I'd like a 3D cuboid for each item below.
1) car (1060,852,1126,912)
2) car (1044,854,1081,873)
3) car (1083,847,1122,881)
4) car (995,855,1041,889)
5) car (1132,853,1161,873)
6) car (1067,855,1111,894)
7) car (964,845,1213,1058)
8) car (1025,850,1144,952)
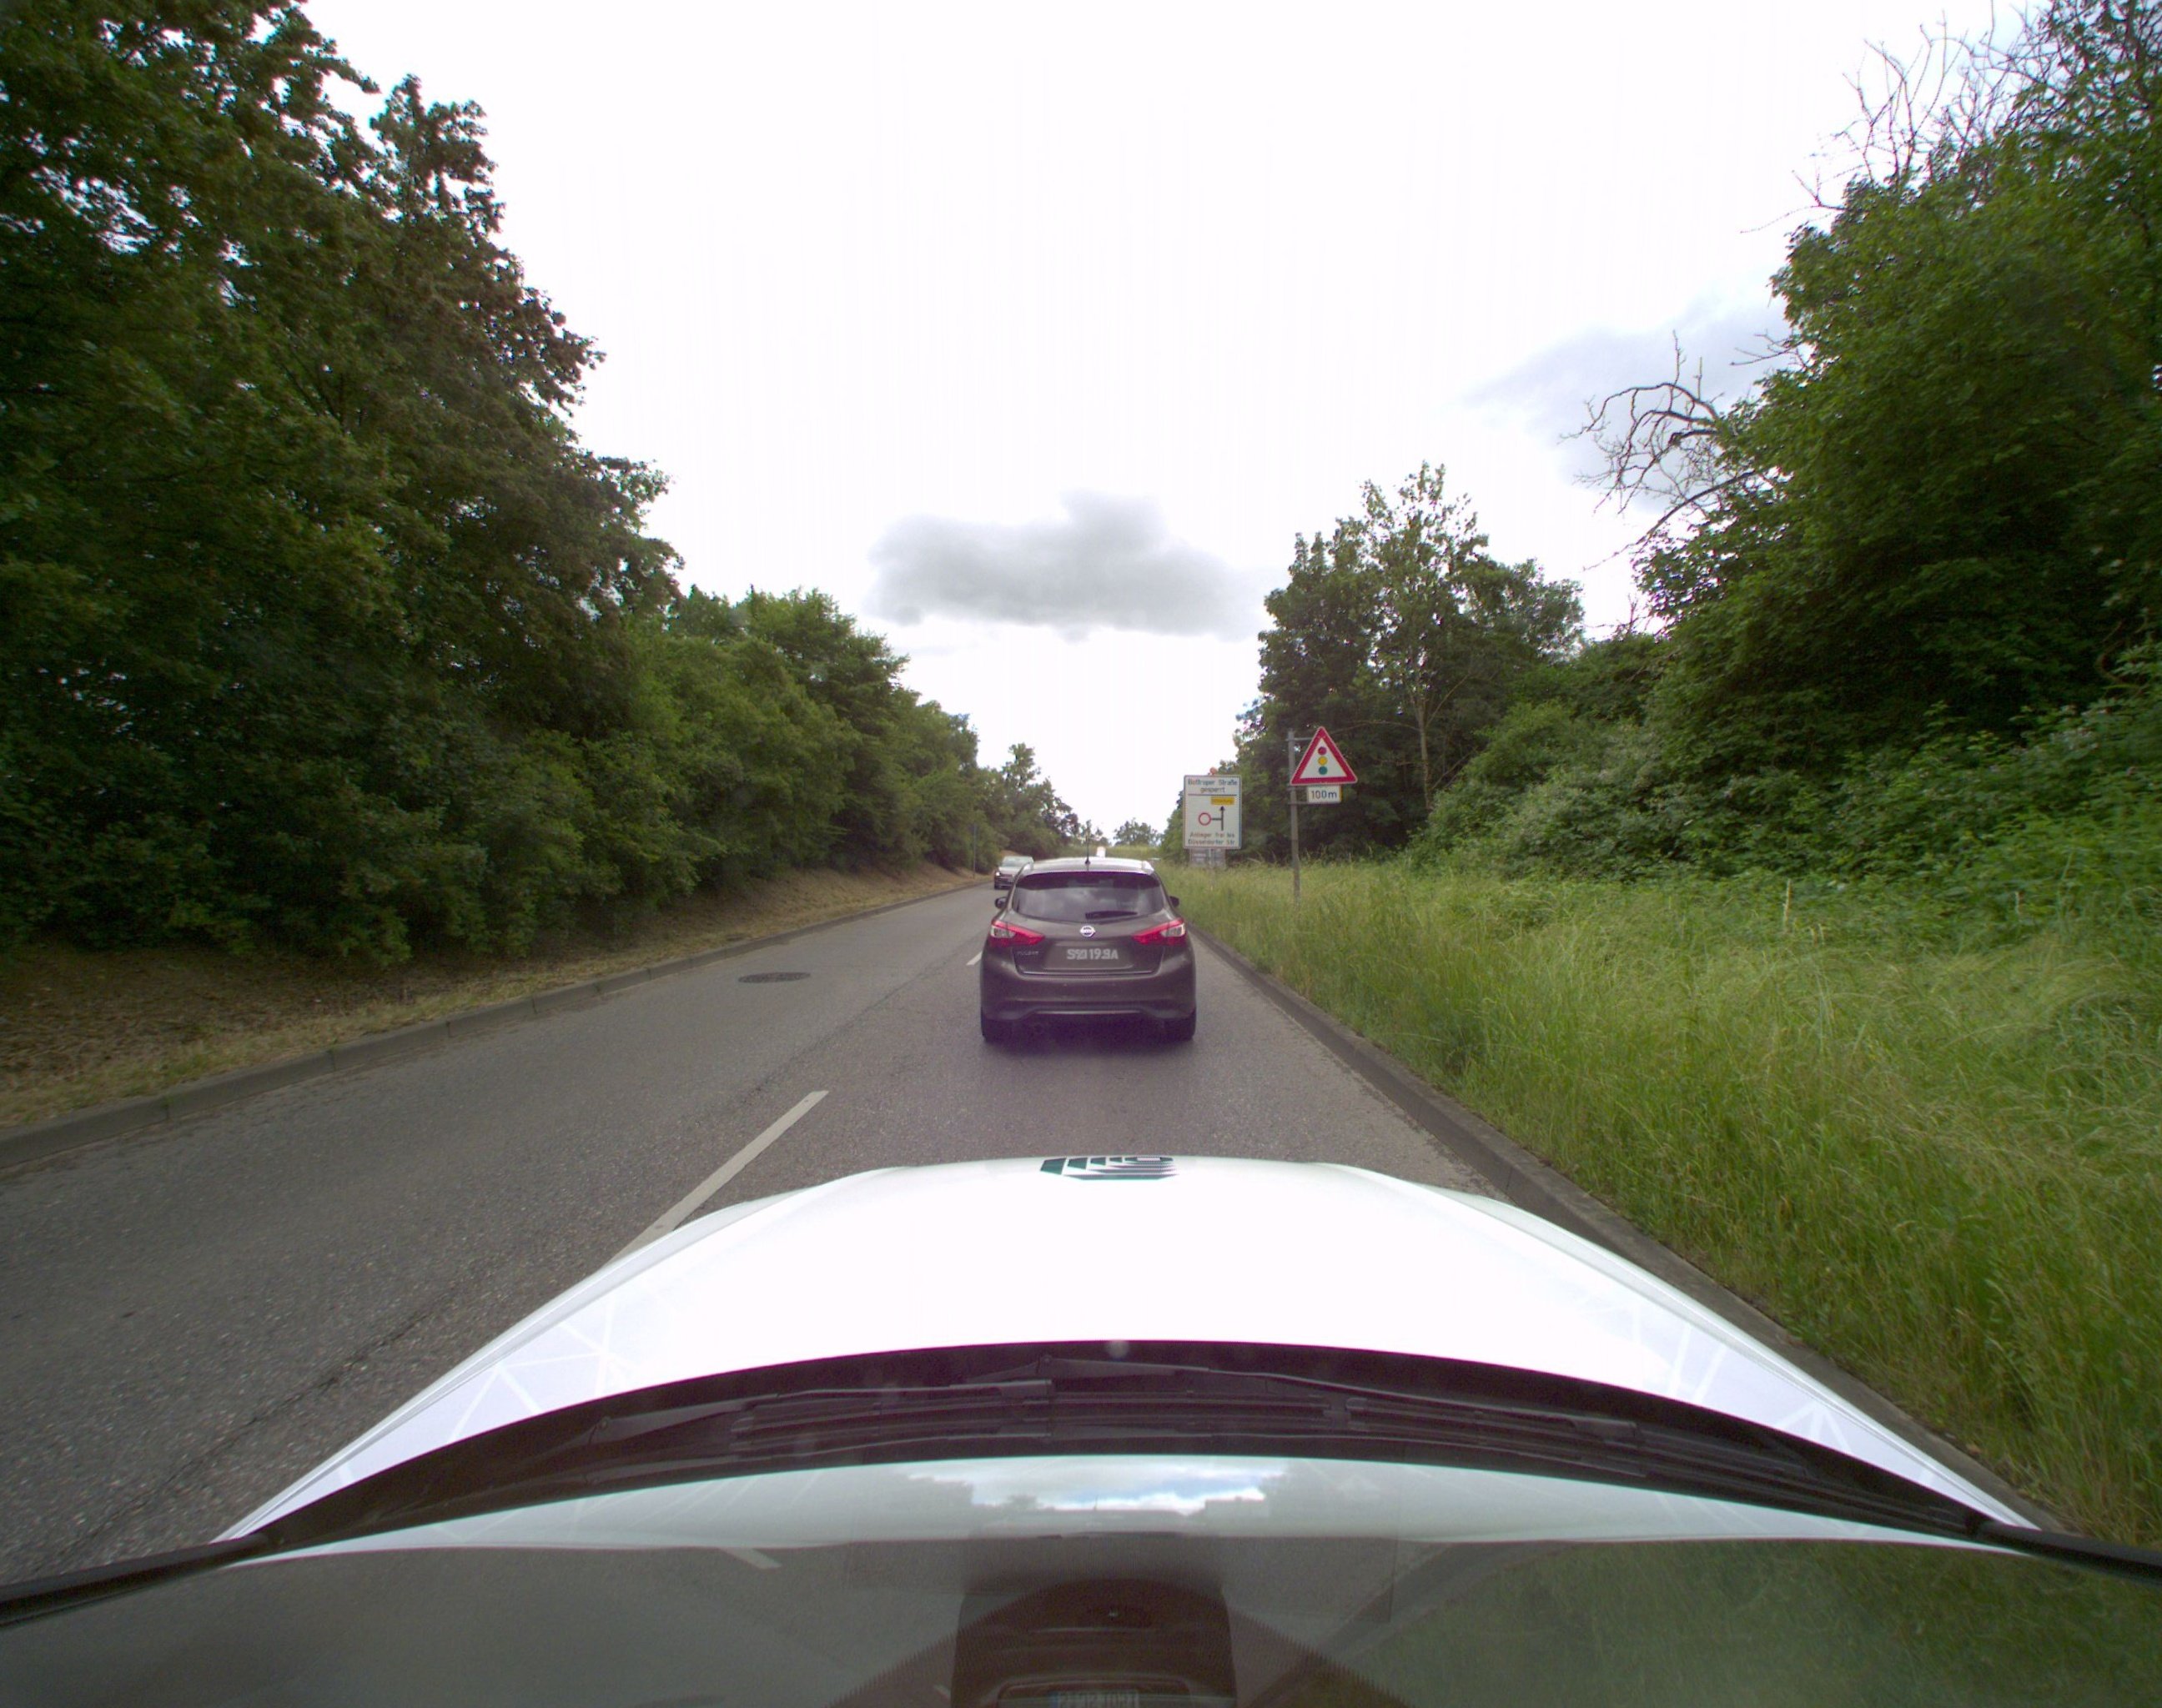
[{"bbox_3d":[0.384,0.752,23.481,1.729,1.556,3.545,-1,0,2],"label":"car"},{"bbox_3d":[-1.363,0.715,62.234,1.629,1.400,3.837,2,0,16],"label":"car"},{"bbox_3d":[1.365,0.591,49.686,1.725,1.935,3.554,-2,0,11],"label":"car"},{"bbox_3d":[-2.721,0.762,35.777,1.636,1.400,3.822,-1,0,1],"label":"car"},{"bbox_3d":[5.496,0.752,68.054,1.722,1.526,3.559,-2,0,17],"label":"car"},{"bbox_3d":[0.385,0.829,34.906,1.729,1.556,3.545,-1,0,2],"label":"car"},{"bbox_3d":[0.067,0.723,7.804,1.824,1.556,3.499,-1,0,0],"label":"car"},{"bbox_3d":[0.124,0.744,14.597,1.823,1.556,3.626,-1,0,2],"label":"car"}]
